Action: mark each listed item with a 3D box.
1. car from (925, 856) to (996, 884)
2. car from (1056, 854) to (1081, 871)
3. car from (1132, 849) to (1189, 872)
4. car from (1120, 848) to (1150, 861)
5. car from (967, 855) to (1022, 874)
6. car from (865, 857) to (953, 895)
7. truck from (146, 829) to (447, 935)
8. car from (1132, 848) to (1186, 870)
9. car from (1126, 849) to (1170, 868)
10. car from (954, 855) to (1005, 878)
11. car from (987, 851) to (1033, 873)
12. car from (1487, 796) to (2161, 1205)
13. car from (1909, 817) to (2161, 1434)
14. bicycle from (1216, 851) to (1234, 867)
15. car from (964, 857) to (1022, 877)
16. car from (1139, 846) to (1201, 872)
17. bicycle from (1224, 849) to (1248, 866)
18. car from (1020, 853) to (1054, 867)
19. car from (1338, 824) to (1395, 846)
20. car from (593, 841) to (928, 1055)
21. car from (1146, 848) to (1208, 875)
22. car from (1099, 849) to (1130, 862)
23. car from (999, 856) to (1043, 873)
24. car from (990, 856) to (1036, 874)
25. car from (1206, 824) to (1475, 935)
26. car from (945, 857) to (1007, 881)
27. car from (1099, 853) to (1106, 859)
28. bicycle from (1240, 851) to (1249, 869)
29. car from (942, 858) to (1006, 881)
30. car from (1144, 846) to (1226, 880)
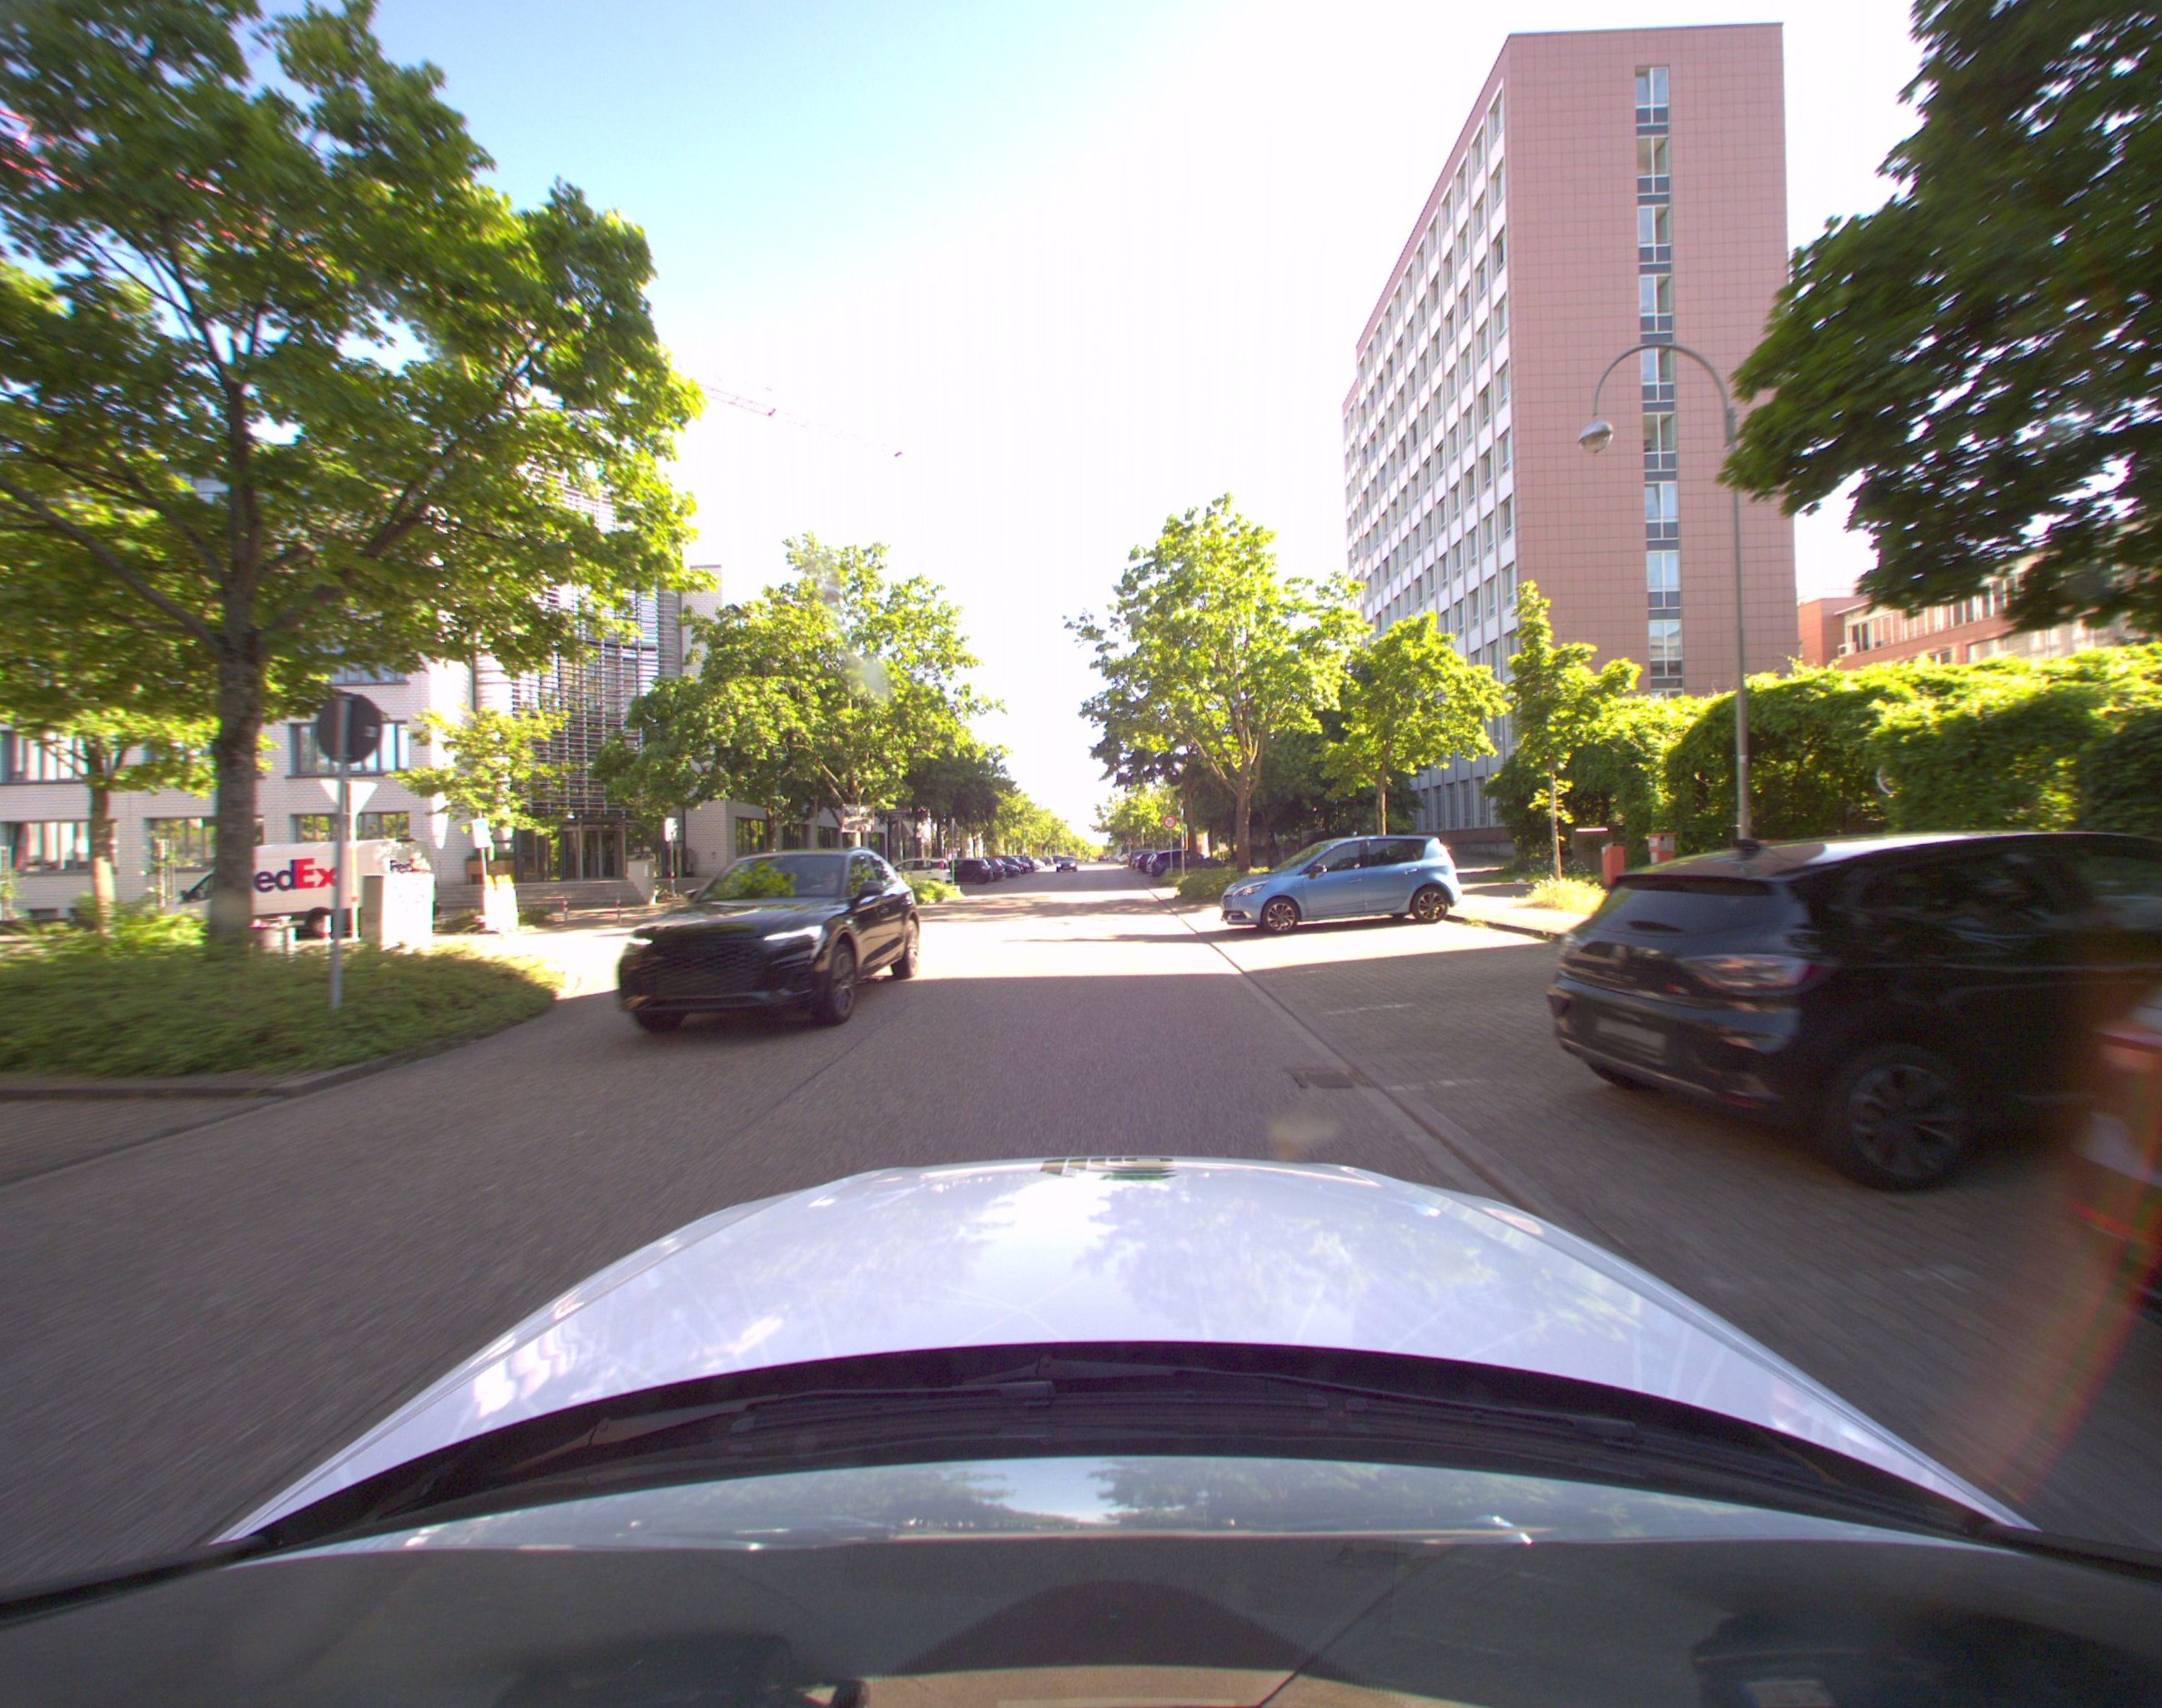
[{"bbox_3d":[-6.830,0.908,46.232,3.720,1.464,1.676,-2,0,0],"label":"car"},{"bbox_3d":[-1.066,0.722,73.673,1.804,1.415,4.113,-1,0,5],"label":"car"},{"bbox_3d":[6.034,0.508,61.867,4.039,1.591,1.547,-2,0,-6],"label":"car"},{"bbox_3d":[7.727,0.078,117.175,3.979,1.792,1.997,-2,0,-4],"label":"car"},{"bbox_3d":[-6.470,0.776,61.044,3.982,1.406,1.602,0,0,-7],"label":"car"},{"bbox_3d":[-7.672,1.006,36.581,3.570,1.549,1.636,-1,-3,-1],"label":"car"},{"bbox_3d":[-22.588,0.762,23.699,6.085,2.704,2.577,-2,0,-1],"label":"truck"},{"bbox_3d":[6.195,0.418,64.786,4.033,1.491,1.549,-3,0,-2],"label":"car"},{"bbox_3d":[6.266,0.397,76.735,3.883,1.656,1.856,-2,0,-3],"label":"car"},{"bbox_3d":[-6.941,0.857,55.995,3.412,1.463,1.694,0,1,-4],"label":"car"},{"bbox_3d":[-5.962,0.677,68.561,3.526,1.657,1.762,-2,-1,3],"label":"car"},{"bbox_3d":[4.515,0.544,4.240,3.833,1.483,1.825,-4,1,0],"label":"car"},{"bbox_3d":[4.389,0.518,1.664,3.793,1.408,1.700,-4,1,-4],"label":"car"},{"bbox_3d":[10.434,0.373,59.022,0.380,1.078,1.775,-2,0,-19],"label":"bicycle"},{"bbox_3d":[-6.279,0.931,58.428,3.974,1.412,1.665,0,-1,-1],"label":"car"},{"bbox_3d":[6.411,0.363,58.644,4.227,1.554,1.923,-4,0,6],"label":"car"},{"bbox_3d":[10.466,0.233,55.029,0.382,1.078,1.766,-2,0,-40],"label":"bicycle"},{"bbox_3d":[-5.566,0.746,102.911,3.969,1.654,1.862,-2,0,3],"label":"car"},{"bbox_3d":[23.984,-1.571,68.566,4.062,1.783,1.998,0,0,-3],"label":"car"},{"bbox_3d":[-3.040,0.767,8.869,1.886,1.684,4.351,-2,0,-1],"label":"car"},{"bbox_3d":[5.953,0.453,50.821,3.624,1.467,1.633,-3,0,-1],"label":"car"},{"bbox_3d":[4.575,0.252,110.552,3.979,1.624,1.997,-2,0,-4],"label":"car"},{"bbox_3d":[-5.573,0.985,75.756,3.880,1.464,1.858,-2,0,0],"label":"car"},{"bbox_3d":[-6.039,0.967,72.357,3.880,1.464,1.858,-2,0,0],"label":"car"},{"bbox_3d":[4.736,0.442,15.354,4.390,1.618,1.912,-5,0,0],"label":"car"},{"bbox_3d":[-6.867,0.971,53.550,3.855,1.457,1.753,0,1,-2],"label":"car"},{"bbox_3d":[6.030,0.466,225.286,1.926,1.597,4.367,-2,0,1],"label":"car"},{"bbox_3d":[9.966,0.363,49.684,0.377,1.047,1.888,-3,0,7],"label":"bicycle"},{"bbox_3d":[-6.661,0.961,50.883,3.748,1.445,1.632,0,0,1],"label":"car"},{"bbox_3d":[5.738,0.489,45.392,4.256,1.633,1.857,-3,0,-2],"label":"car"}]
